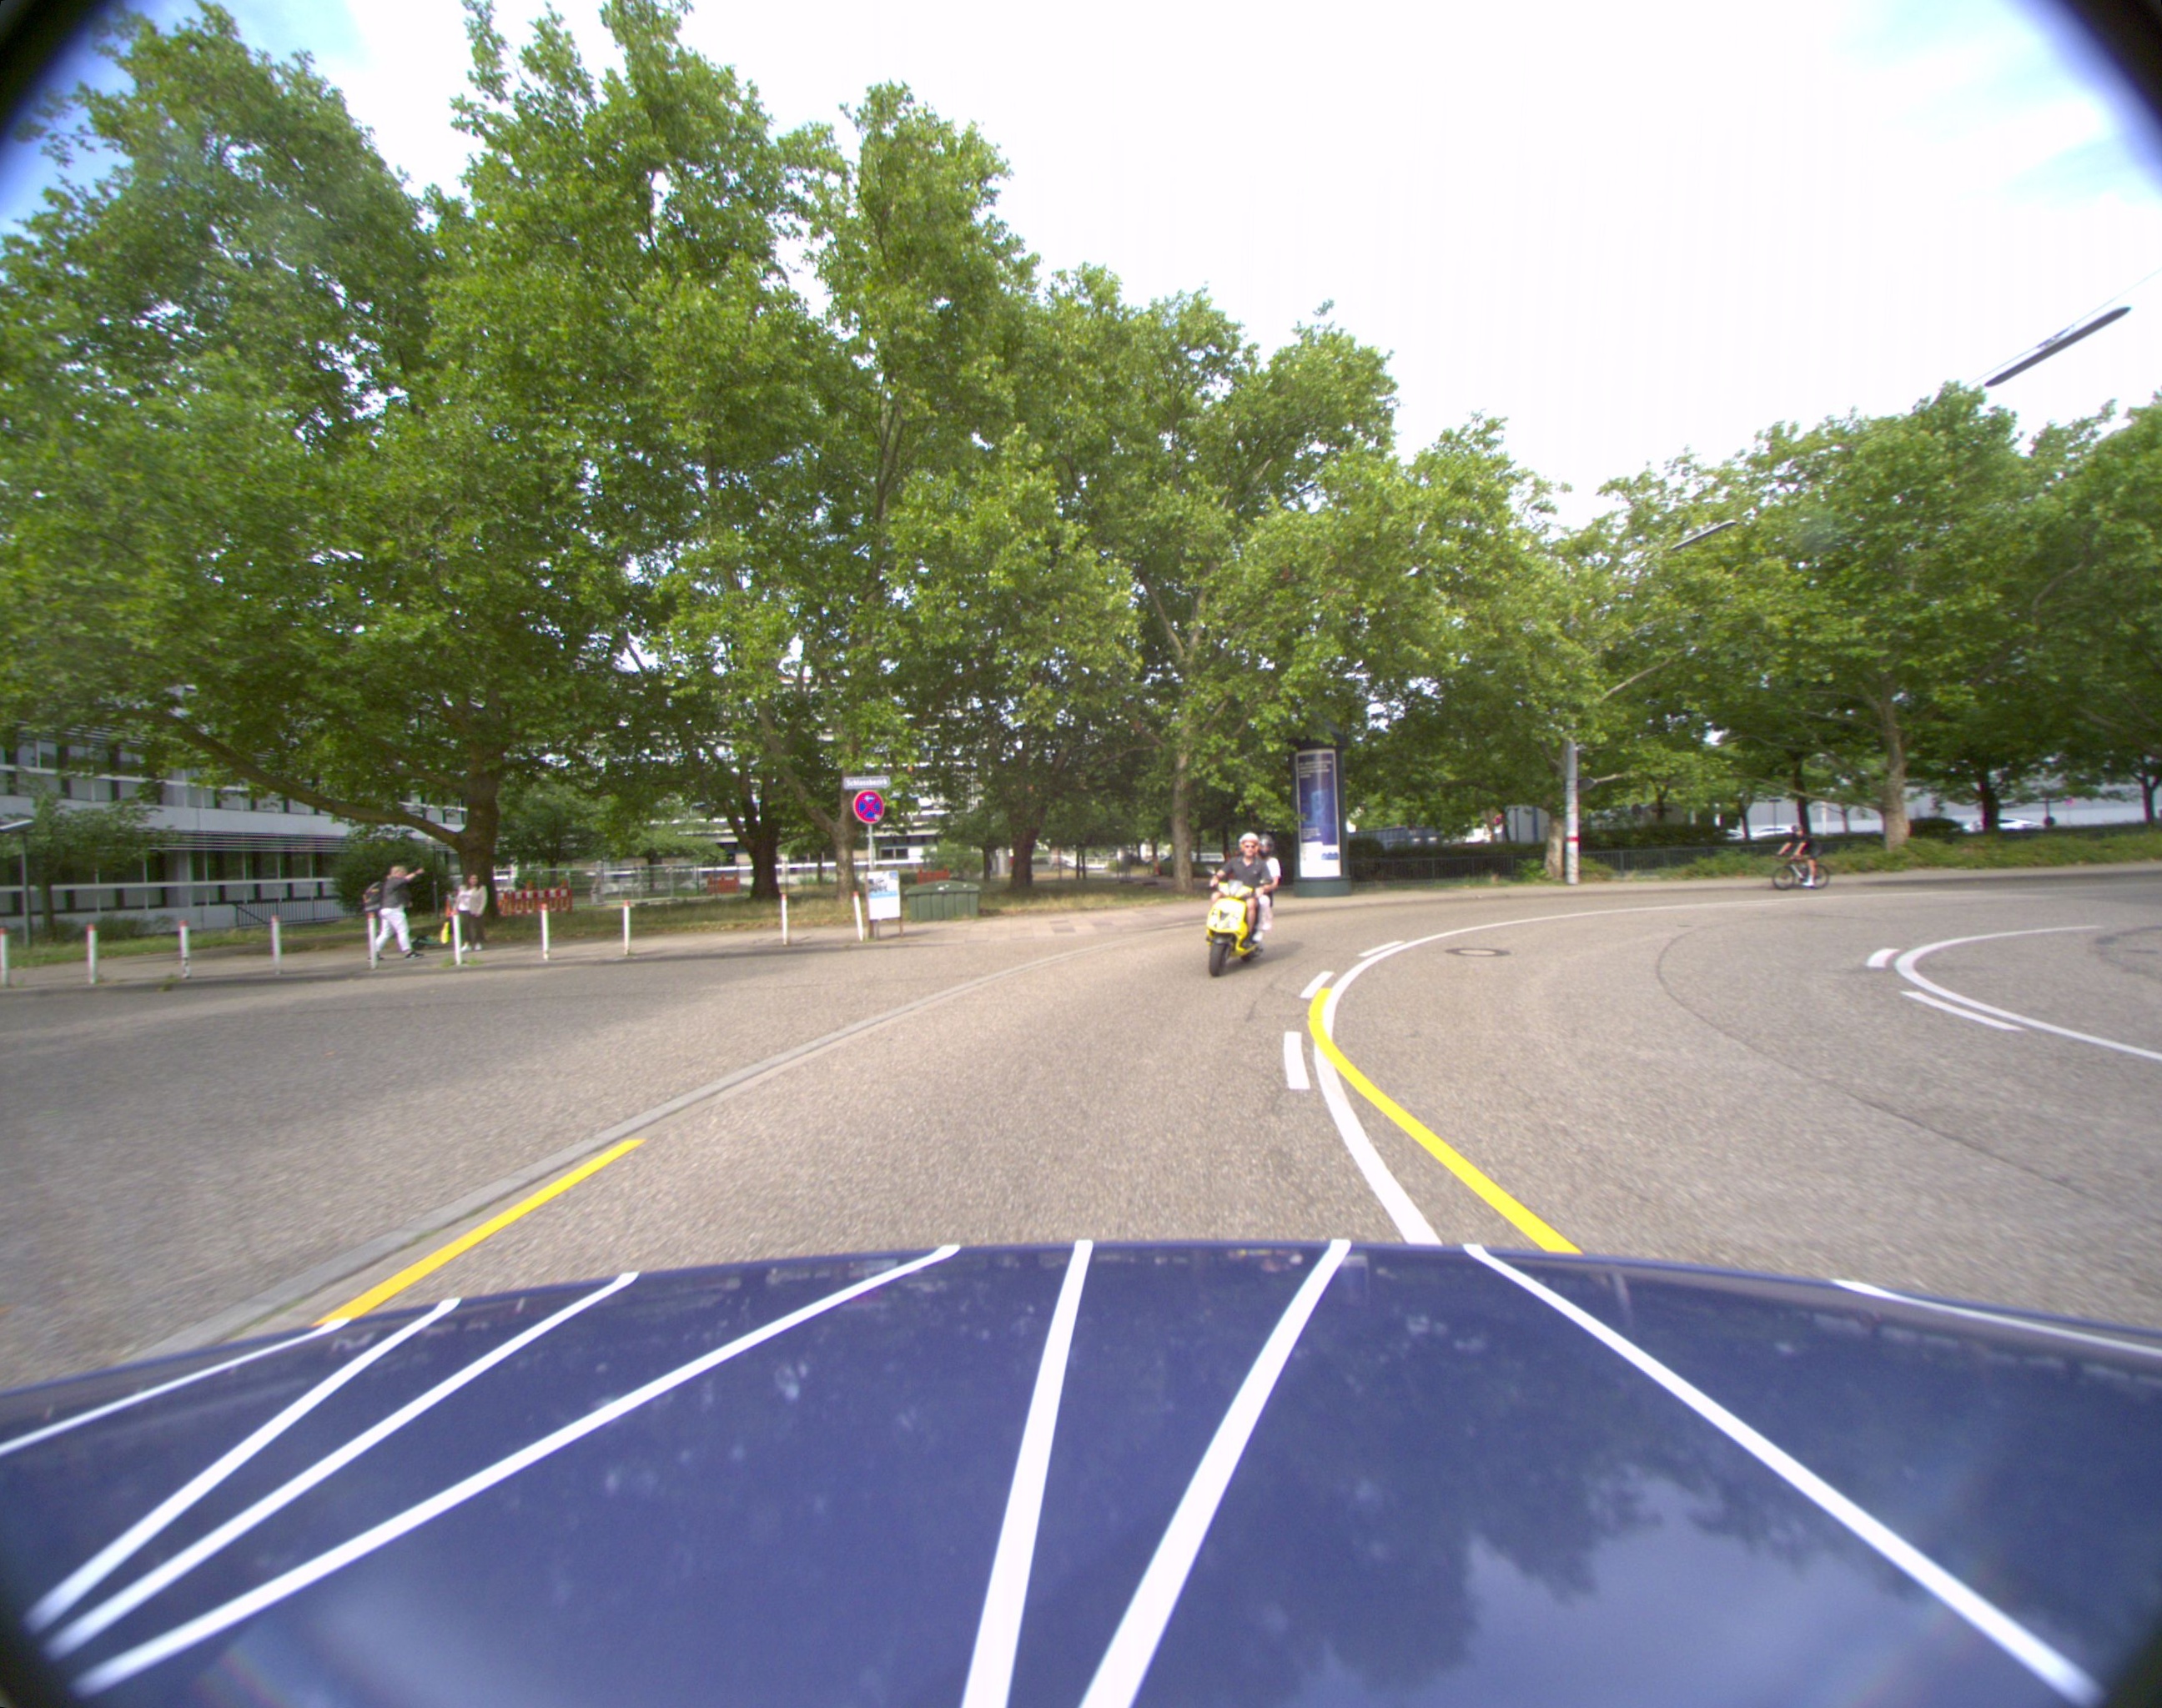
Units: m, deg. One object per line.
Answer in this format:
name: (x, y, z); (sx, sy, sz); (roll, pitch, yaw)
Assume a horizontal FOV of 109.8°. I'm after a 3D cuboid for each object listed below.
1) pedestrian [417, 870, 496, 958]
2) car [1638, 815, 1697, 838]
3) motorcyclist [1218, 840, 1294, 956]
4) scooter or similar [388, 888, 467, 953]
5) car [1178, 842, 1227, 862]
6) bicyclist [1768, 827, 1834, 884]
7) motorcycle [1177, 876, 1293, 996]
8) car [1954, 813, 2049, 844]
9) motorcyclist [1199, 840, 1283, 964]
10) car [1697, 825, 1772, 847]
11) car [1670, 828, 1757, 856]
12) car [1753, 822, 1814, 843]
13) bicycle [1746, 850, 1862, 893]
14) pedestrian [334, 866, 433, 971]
pedestrian: (-12.265, 1.155, 14.954); (0.899, 1.631, 0.851); (-2, -1, -15)
car: (56.281, -2.606, 72.981); (3.997, 2.001, 2.000); (-2, -1, 0)
motorcyclist: (2.289, 0.547, 9.896); (0.780, 1.420, 0.690); (0, 3, 30)
scooter or similar: (-13.716, 1.365, 15.990); (0.570, 1.261, 1.454); (-2, -1, -9)
car: (10.589, -0.171, 66.592); (3.789, 1.571, 1.999); (-2, -1, -8)
bicyclist: (18.698, 0.048, 19.740); (0.914, 1.438, 0.785); (-2, -1, -7)
motorcycle: (1.929, 0.916, 9.258); (0.780, 1.171, 1.996); (0, 2, 30)
car: (68.950, -1.877, 57.018); (2.000, 2.001, 3.998); (-2, -2, -9)
motorcyclist: (1.969, 0.558, 9.306); (0.780, 1.419, 0.765); (0, 2, 30)
car: (55.975, -1.563, 65.158); (4.771, 1.620, 2.000); (-2, -1, -3)
car: (44.989, -0.849, 54.065); (4.772, 1.783, 1.999); (-2, -1, -8)
car: (68.897, -2.100, 74.563); (1.954, 1.850, 3.876); (-2, -2, -13)
bicycle: (18.749, 0.457, 19.720); (2.407, 1.009, 0.771); (-2, -1, -6)
pedestrian: (-12.335, 1.112, 13.485); (0.964, 1.731, 1.253); (-1, -1, -27)
